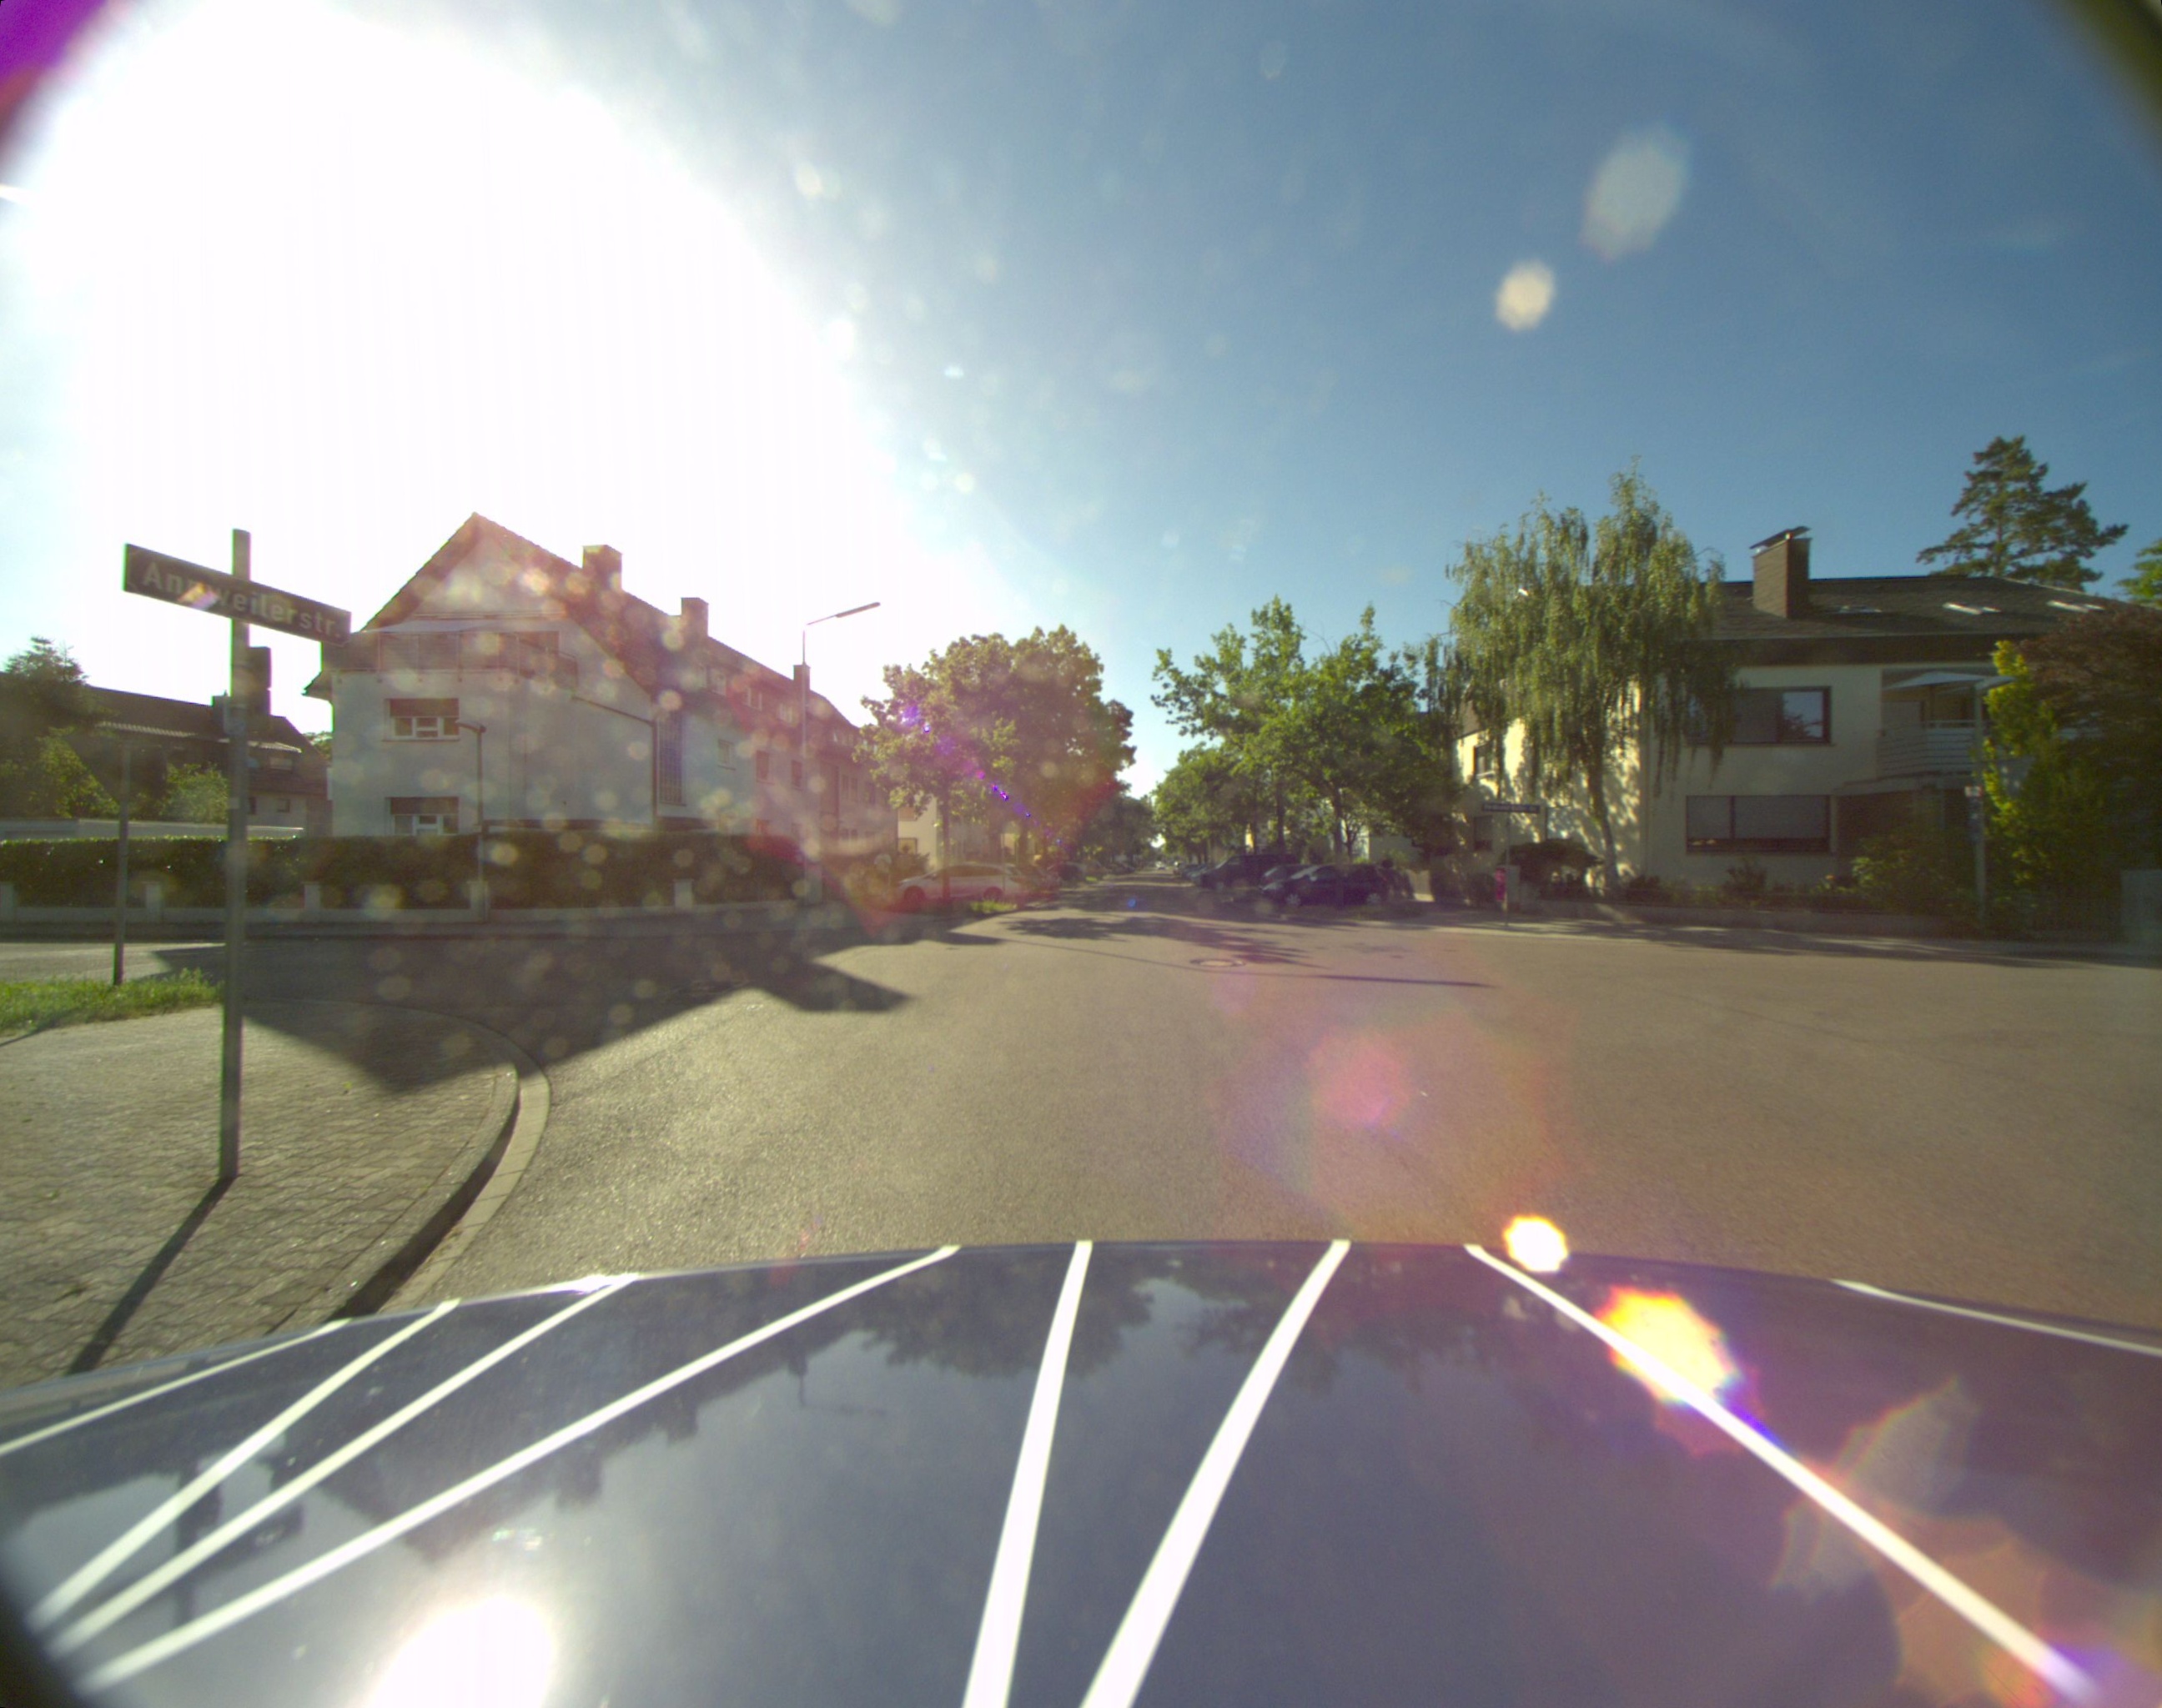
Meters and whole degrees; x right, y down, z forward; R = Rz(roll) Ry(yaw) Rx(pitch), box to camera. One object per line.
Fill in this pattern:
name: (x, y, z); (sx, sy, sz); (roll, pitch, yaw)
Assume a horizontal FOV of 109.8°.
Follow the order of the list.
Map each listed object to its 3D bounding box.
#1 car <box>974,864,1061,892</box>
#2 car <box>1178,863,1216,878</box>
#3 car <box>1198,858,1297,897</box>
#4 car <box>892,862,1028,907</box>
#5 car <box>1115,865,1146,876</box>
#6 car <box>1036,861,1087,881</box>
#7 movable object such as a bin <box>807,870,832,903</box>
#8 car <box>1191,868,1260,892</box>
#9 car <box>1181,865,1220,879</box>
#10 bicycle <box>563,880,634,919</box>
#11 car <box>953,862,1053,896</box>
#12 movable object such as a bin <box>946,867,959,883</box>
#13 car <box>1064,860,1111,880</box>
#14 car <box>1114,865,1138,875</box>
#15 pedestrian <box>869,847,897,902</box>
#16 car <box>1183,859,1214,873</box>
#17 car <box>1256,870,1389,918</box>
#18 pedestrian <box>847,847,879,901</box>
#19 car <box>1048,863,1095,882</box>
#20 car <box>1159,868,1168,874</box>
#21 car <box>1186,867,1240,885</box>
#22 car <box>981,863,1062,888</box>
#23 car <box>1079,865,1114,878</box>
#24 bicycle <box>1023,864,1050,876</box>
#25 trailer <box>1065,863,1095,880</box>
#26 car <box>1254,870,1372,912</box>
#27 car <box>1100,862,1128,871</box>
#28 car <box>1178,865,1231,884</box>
car: (-3.278, 1.243, 39.807); (4.286, 1.406, 1.797); (0, 0, 4)
car: (13.197, 1.874, 86.669); (4.195, 1.557, 1.793); (0, 0, 8)
car: (8.649, 1.233, 39.831); (4.789, 1.905, 2.019); (-1, -1, 3)
car: (-4.084, 1.036, 26.214); (4.440, 1.483, 1.796); (0, 0, -1)
car: (7.132, 2.365, 108.402); (4.328, 1.520, 1.842); (1, 0, 6)
car: (-1.546, 1.356, 61.126); (3.890, 1.507, 1.662); (0, 0, 6)
movable object such as a bin: (-8.506, 1.061, 24.703); (0.535, 1.039, 0.700); (0, 0, 3)
car: (9.413, 1.695, 49.845); (4.284, 1.469, 1.769); (0, 0, 5)
car: (12.727, 1.928, 81.206); (4.042, 1.415, 1.811); (0, 0, 5)
bicycle: (-13.859, 1.295, 21.850); (1.676, 1.048, 0.531); (1, 0, -28)
car: (-3.539, 1.111, 34.969); (4.285, 1.494, 1.797); (0, 0, 5)
movable object such as a bin: (-8.901, 1.445, 52.522); (0.704, 1.092, 0.906); (0, 1, 4)
car: (0.715, 1.635, 80.325); (4.828, 2.071, 2.087); (0, 0, 6)
car: (7.306, 2.612, 123.130); (3.784, 1.475, 1.756); (1, 1, 8)
pedestrian: (-6.799, 0.695, 26.096); (0.609, 1.862, 0.924); (0, 1, 7)
car: (16.831, 1.750, 108.725); (4.245, 1.932, 2.001); (0, 0, 4)
car: (7.843, 1.288, 24.941); (3.865, 1.450, 1.714); (-1, -1, 5)
pedestrian: (-7.525, 0.685, 26.220); (0.836, 1.817, 0.711); (0, 1, 5)
car: (-0.788, 1.581, 66.090); (3.996, 1.614, 1.757); (0, 0, 1)
car: (20.490, 4.125, 188.013); (1.943, 1.412, 4.003); (0, 0, 10)
car: (10.762, 1.788, 62.182); (4.191, 1.483, 1.648); (0, 0, 5)
car: (-3.348, 1.205, 43.435); (4.355, 1.355, 1.874); (1, 0, 5)
car: (1.968, 2.202, 96.794); (4.346, 1.551, 1.868); (1, 0, 6)
bicycle: (-4.779, 1.705, 81.415); (2.864, 1.230, 0.468); (1, 0, 7)
trailer: (-0.060, 1.724, 76.098); (2.953, 1.654, 1.615); (0, 0, 0)
car: (8.486, 1.340, 28.081); (3.827, 1.411, 1.773); (-1, 0, 3)
car: (5.536, 2.079, 128.209); (4.511, 1.437, 1.839); (1, 0, 8)
car: (10.837, 1.790, 66.855); (4.532, 1.621, 1.939); (0, 0, 7)
